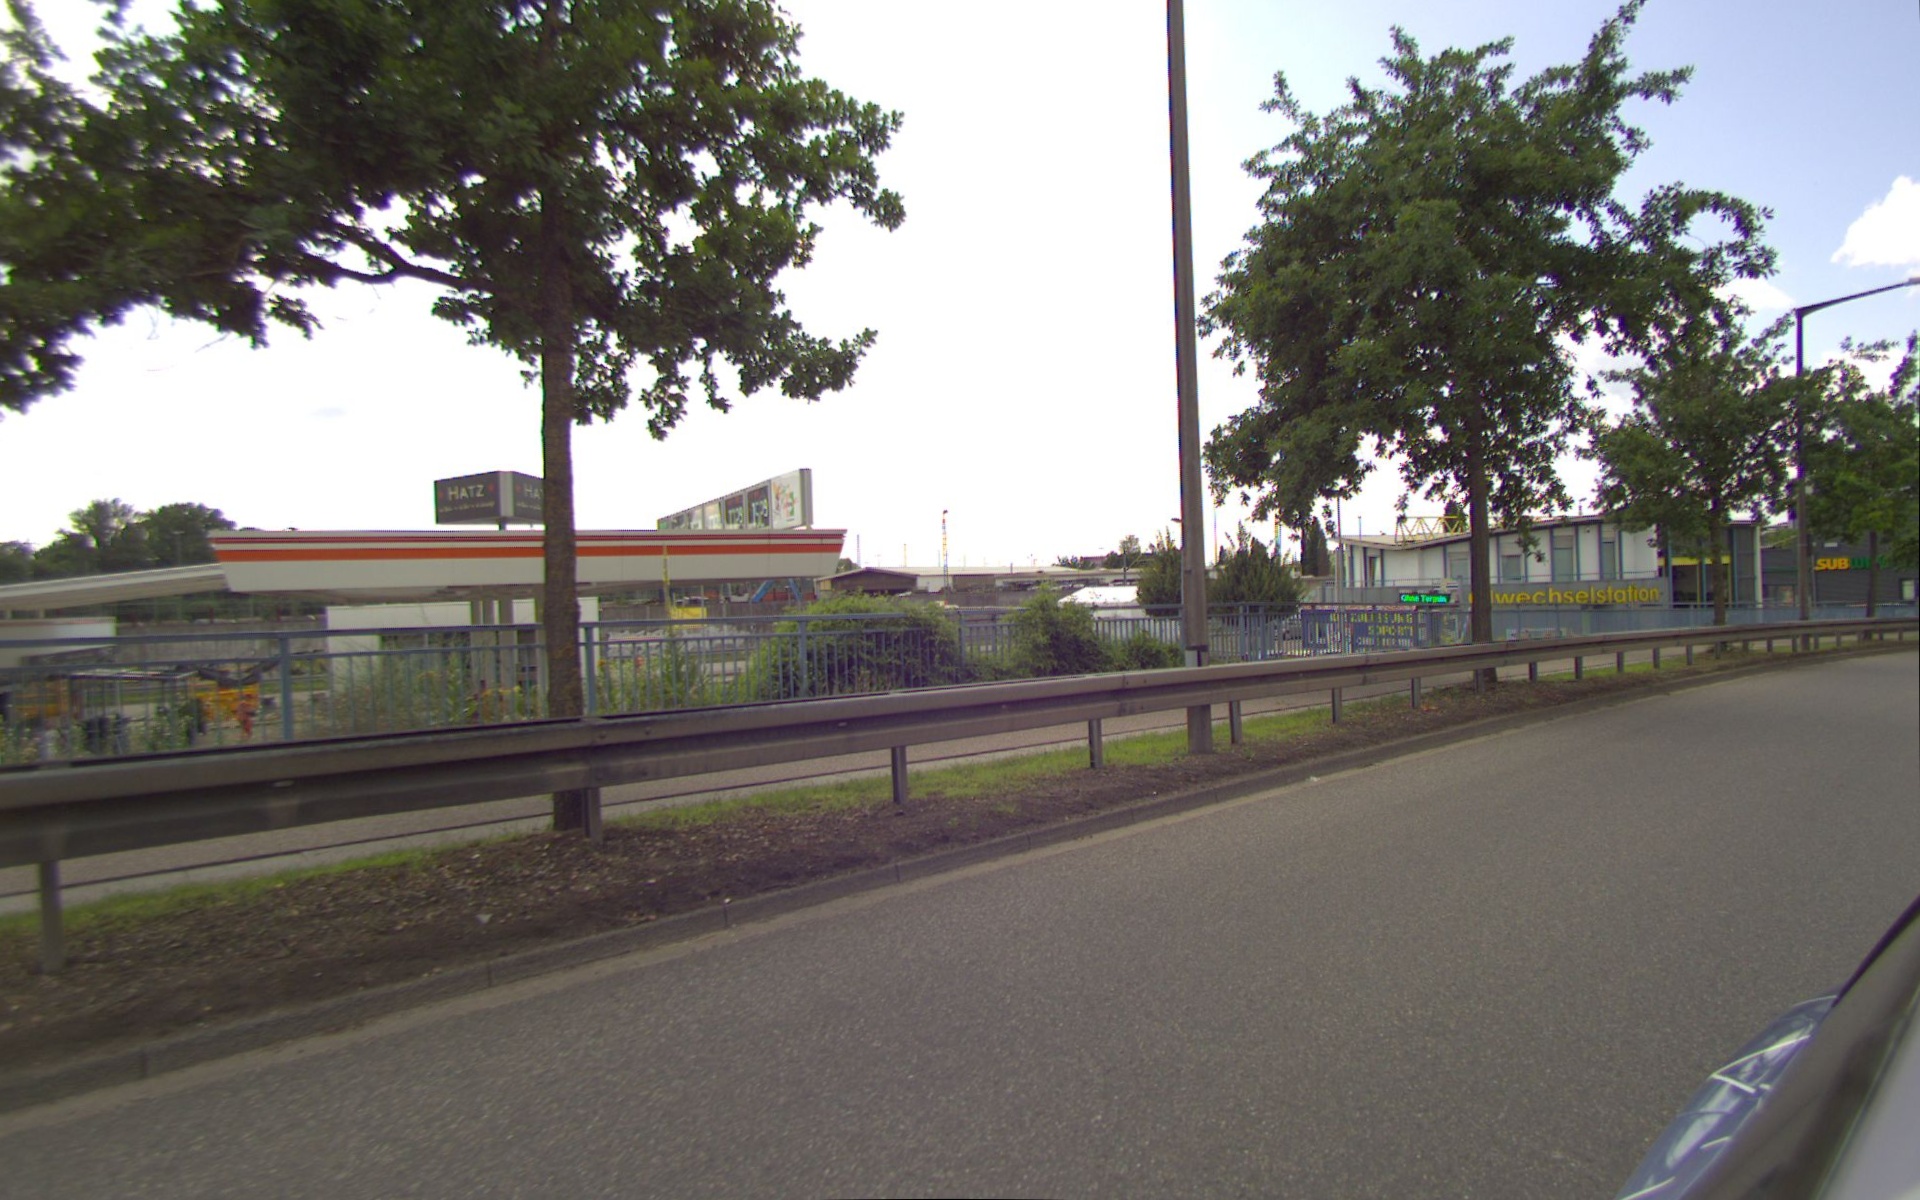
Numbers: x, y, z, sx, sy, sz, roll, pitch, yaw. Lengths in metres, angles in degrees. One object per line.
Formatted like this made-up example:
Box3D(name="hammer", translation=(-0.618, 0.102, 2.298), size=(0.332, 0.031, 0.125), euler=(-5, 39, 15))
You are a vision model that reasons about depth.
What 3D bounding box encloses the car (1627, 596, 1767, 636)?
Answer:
Box3D(name="car", translation=(40.499, 0.864, 55.797), size=(2.188, 2.039, 5.828), euler=(-3, 1, -28))
